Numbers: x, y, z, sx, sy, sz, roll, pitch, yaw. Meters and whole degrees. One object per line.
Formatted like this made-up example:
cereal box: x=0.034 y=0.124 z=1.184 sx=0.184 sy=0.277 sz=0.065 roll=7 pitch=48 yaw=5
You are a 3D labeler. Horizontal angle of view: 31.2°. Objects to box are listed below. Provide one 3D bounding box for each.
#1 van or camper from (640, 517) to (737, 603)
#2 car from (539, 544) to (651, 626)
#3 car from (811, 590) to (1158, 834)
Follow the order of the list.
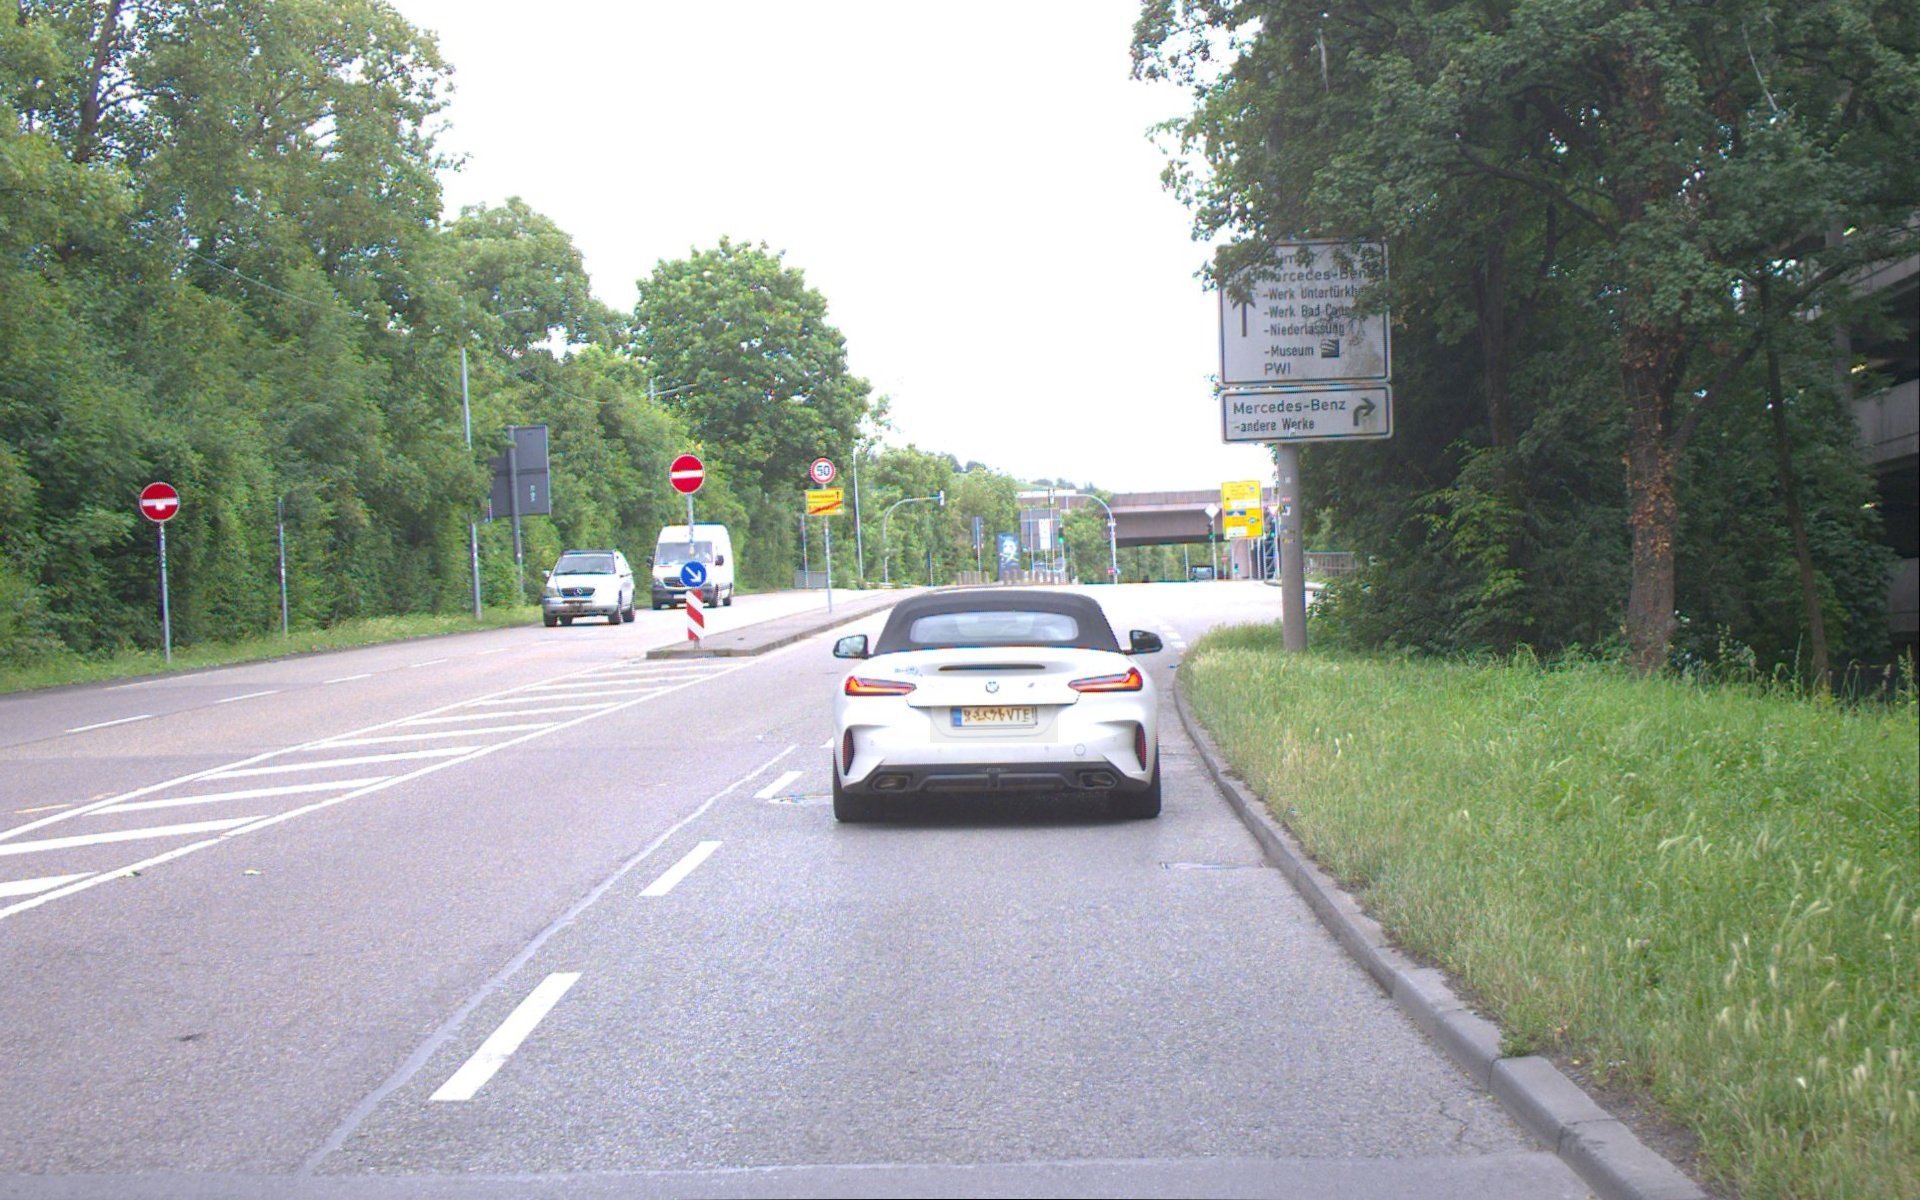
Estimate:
van or camper: x=-8.378 y=-1.265 z=106.823 sx=2.283 sy=2.546 sz=6.859 roll=-1 pitch=1 yaw=1
car: x=-8.795 y=-0.385 z=83.168 sx=1.813 sy=1.824 sz=4.383 roll=-2 pitch=1 yaw=5
car: x=0.186 y=0.609 z=20.627 sx=1.875 sy=1.305 sz=3.873 roll=-1 pitch=0 yaw=2
